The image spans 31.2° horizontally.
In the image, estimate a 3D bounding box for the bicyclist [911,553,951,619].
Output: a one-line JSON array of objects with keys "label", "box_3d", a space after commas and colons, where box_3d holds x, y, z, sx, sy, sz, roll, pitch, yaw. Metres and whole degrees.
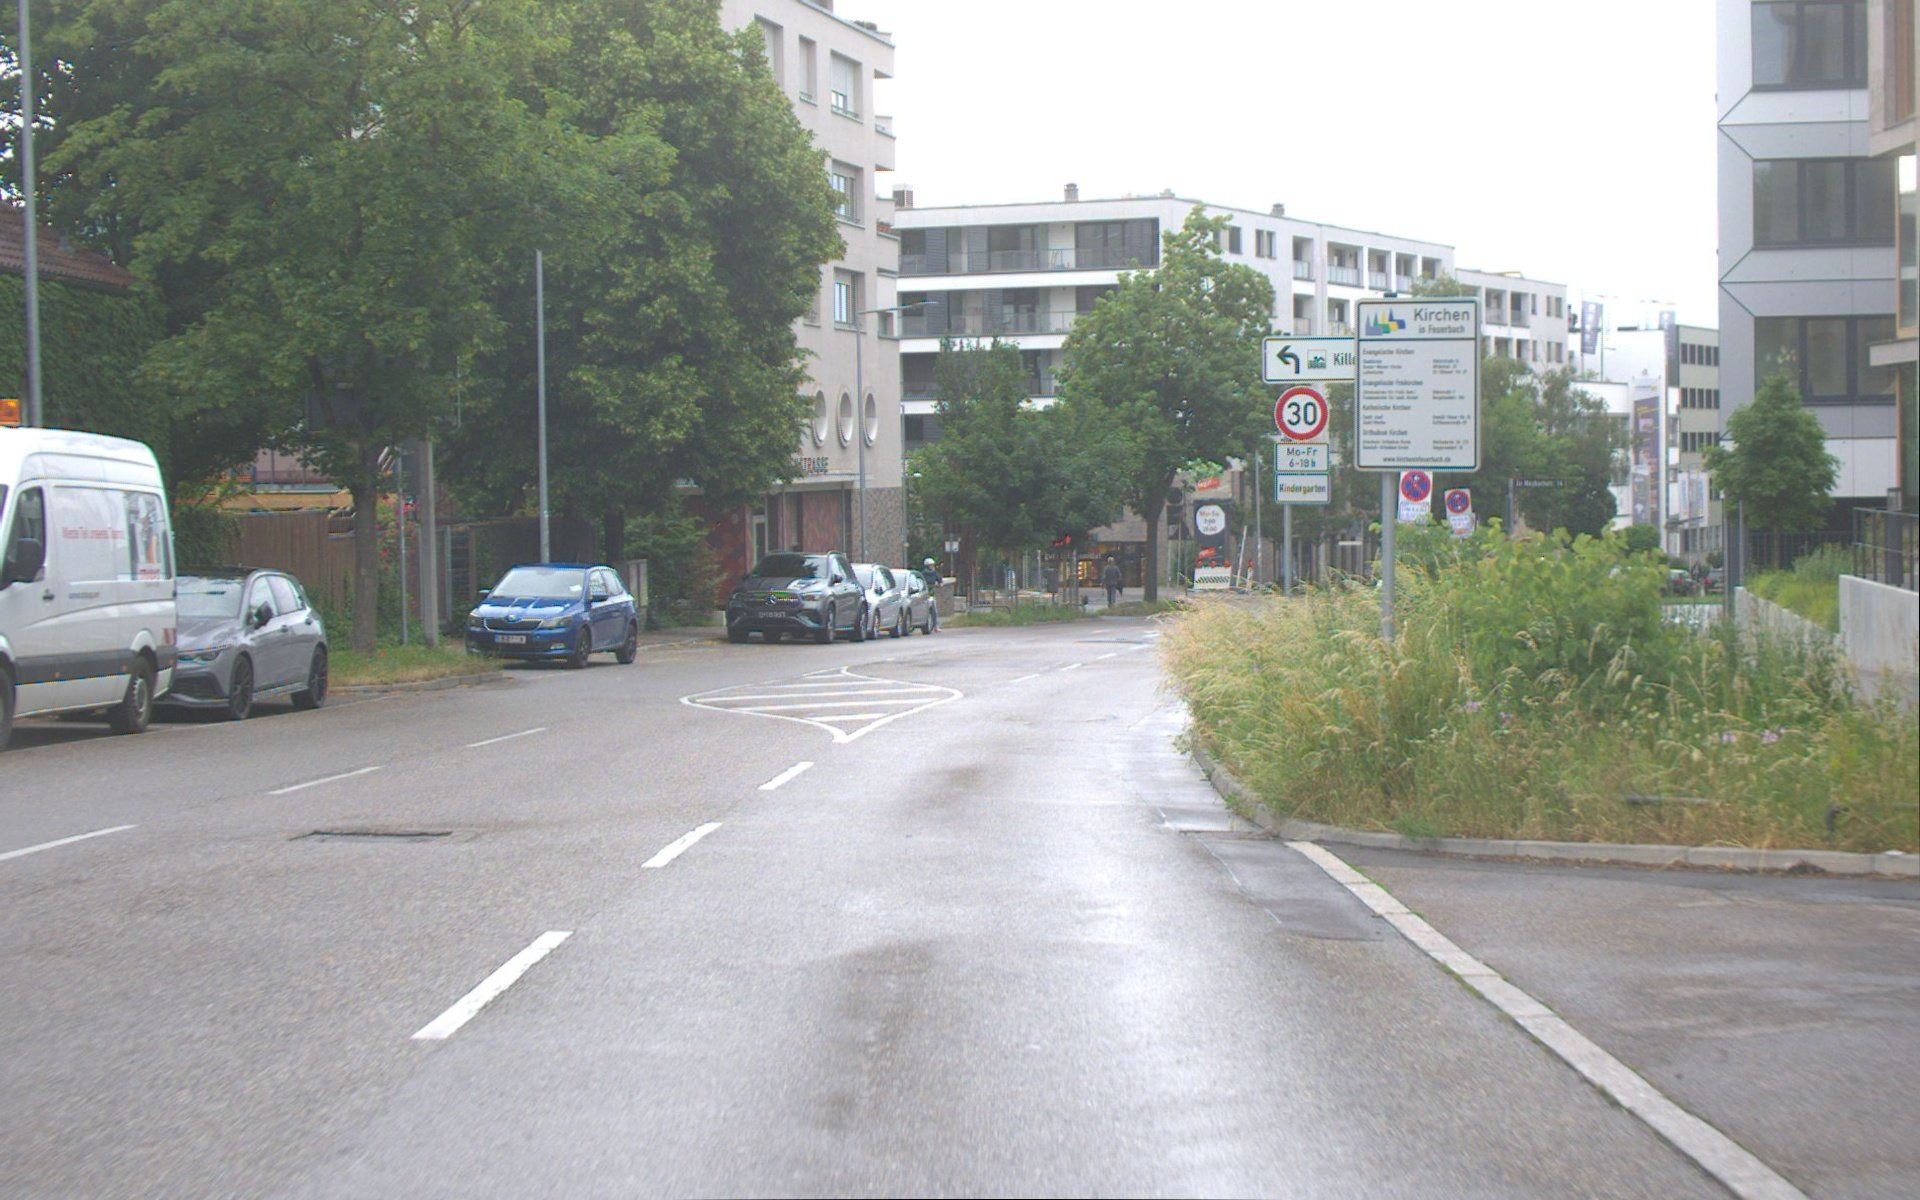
[{"label": "bicyclist", "box_3d": [-0.677, -0.328, 80.104, 0.801, 1.517, 1.201, 1, 0, 5]}]

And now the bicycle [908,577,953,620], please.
[{"label": "bicycle", "box_3d": [-0.679, -0.036, 80.168, 0.802, 0.976, 2.254, 1, 0, 5]}]

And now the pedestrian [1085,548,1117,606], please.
[{"label": "pedestrian", "box_3d": [4.913, -0.805, 119.752, 1.055, 2.007, 1.099, 1, 0, 3]}]

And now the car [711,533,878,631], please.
[{"label": "car", "box_3d": [-3.139, -0.340, 66.522, 1.994, 1.780, 5.408, 1, 0, 11]}]

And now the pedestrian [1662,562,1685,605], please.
[{"label": "pedestrian", "box_3d": [29.776, -0.674, 143.460, 0.823, 1.790, 1.207, 0, 0, 18]}]

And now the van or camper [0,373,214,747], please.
[{"label": "van or camper", "box_3d": [-8.094, -0.347, 27.902, 2.340, 2.755, 6.141, 1, 1, 4]}]

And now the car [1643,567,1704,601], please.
[{"label": "car", "box_3d": [32.365, -0.724, 155.914, 1.810, 1.479, 4.489, 1, 0, 24]}]

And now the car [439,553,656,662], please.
[{"label": "car", "box_3d": [-5.892, 0.097, 49.598, 1.994, 1.465, 4.184, 1, 0, 10]}]

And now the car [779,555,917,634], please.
[{"label": "car", "box_3d": [-2.321, -0.113, 72.455, 1.990, 1.588, 4.488, 1, 0, 10]}]

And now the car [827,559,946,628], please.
[{"label": "car", "box_3d": [-1.613, -0.141, 76.695, 1.880, 1.458, 3.845, 1, 0, 11]}]

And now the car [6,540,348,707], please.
[{"label": "car", "box_3d": [-7.642, 0.208, 34.015, 1.994, 1.507, 4.422, 1, 0, 6]}]
